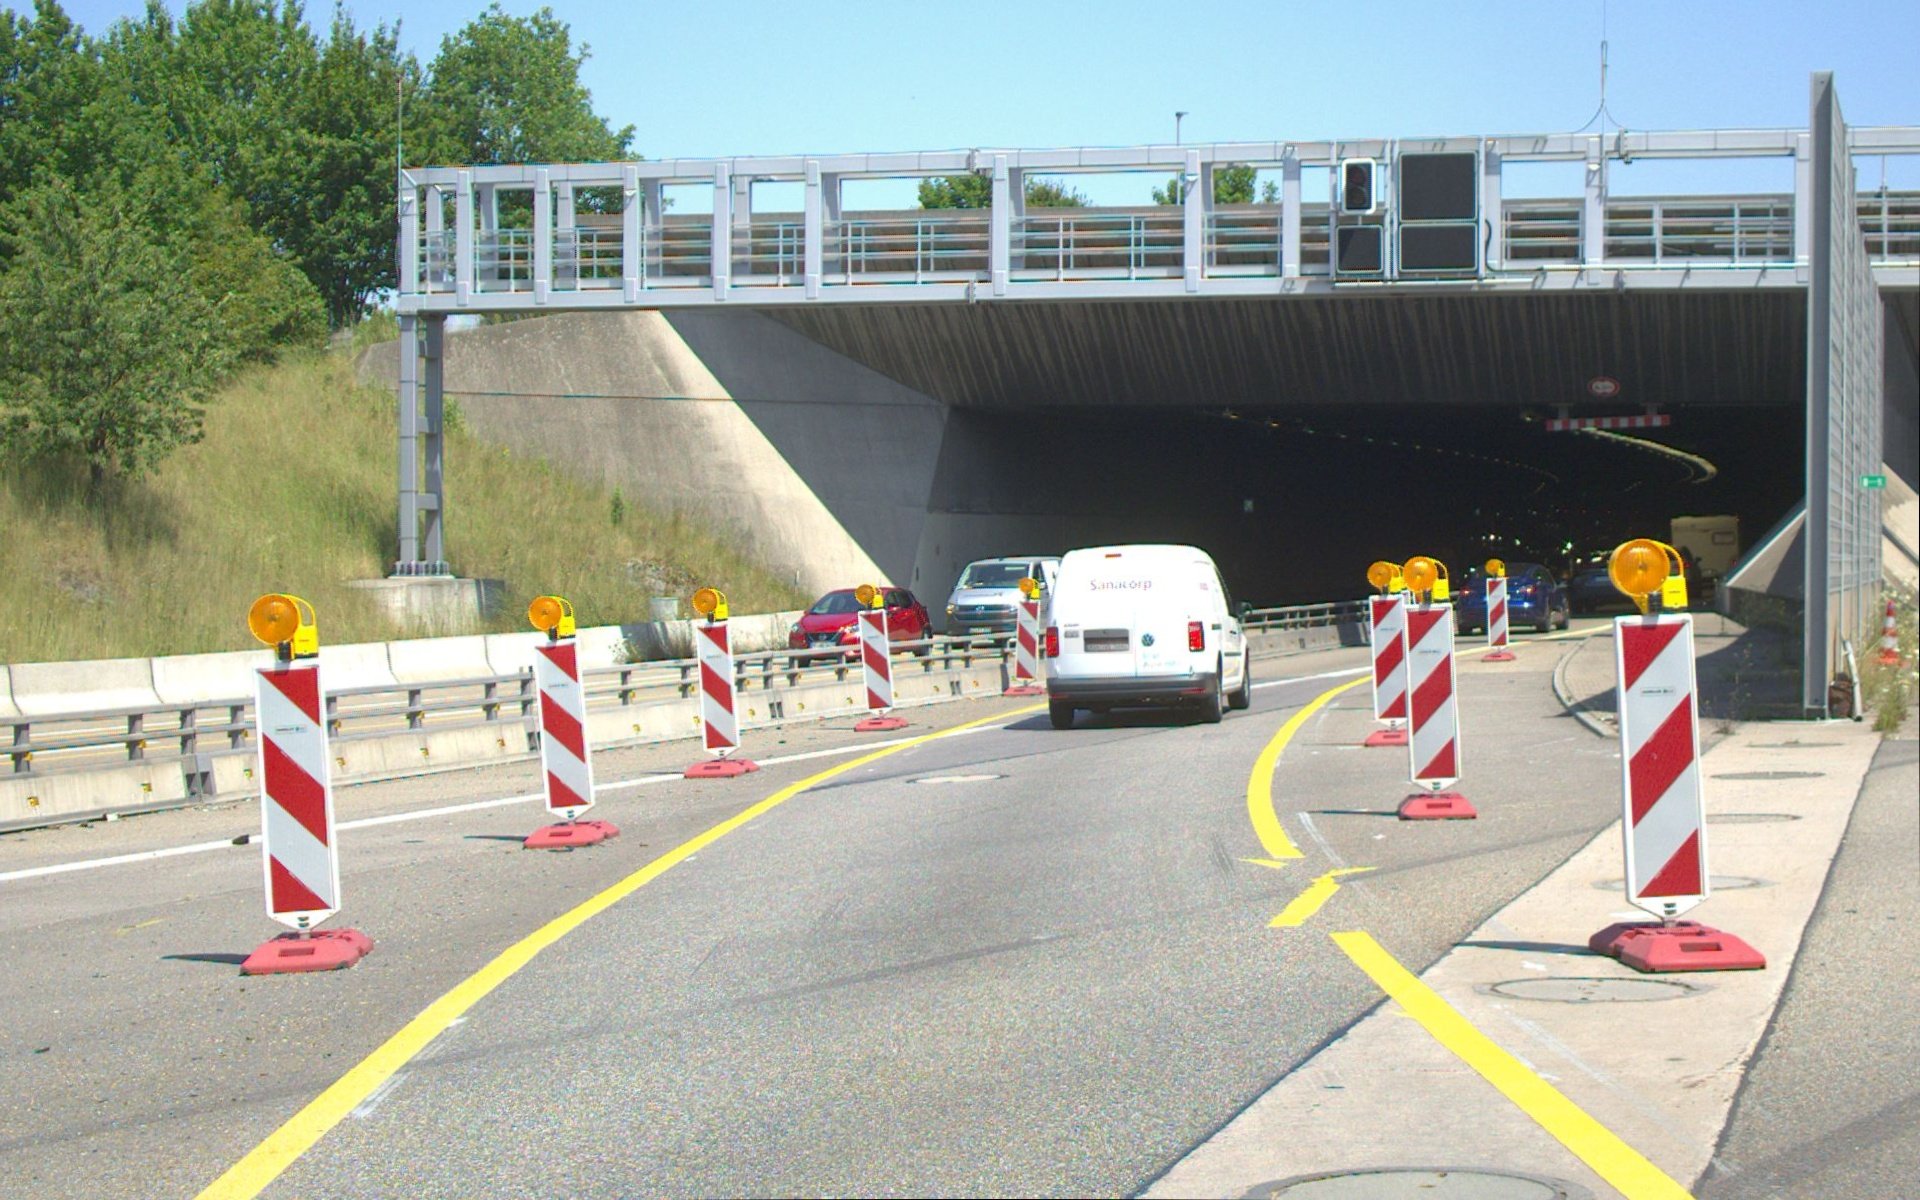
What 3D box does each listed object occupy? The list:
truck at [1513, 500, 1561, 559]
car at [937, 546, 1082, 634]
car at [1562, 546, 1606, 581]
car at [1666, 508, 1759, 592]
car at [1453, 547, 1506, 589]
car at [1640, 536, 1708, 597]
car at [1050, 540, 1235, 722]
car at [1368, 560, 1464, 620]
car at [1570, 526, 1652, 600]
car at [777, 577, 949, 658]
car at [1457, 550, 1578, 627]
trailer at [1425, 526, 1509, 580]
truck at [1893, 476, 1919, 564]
[{"bbox_3d":[40.110,-4.915,239.002,2.812,3.902,6.452,-2,1,13],"label":"truck"},{"bbox_3d":[1.145,-0.236,76.670,1.689,1.828,4.783,-3,0,20],"label":"car"},{"bbox_3d":[30.297,-1.766,166.917,1.774,1.572,4.444,-3,1,14],"label":"car"},{"bbox_3d":[26.505,-1.706,120.932,2.816,2.764,7.096,1,0,15],"label":"car"},{"bbox_3d":[22.550,-1.408,149.056,1.774,1.661,4.804,-3,1,14],"label":"car"},{"bbox_3d":[21.041,-0.980,101.184,1.809,1.745,4.407,0,1,14],"label":"car"},{"bbox_3d":[1.886,0.294,35.917,1.808,1.788,3.731,-1,1,2],"label":"car"},{"bbox_3d":[13.138,-0.296,98.846,1.744,1.588,4.223,-2,0,21],"label":"car"},{"bbox_3d":[16.475,-0.935,86.869,1.809,1.809,4.407,0,1,14],"label":"car"},{"bbox_3d":[-1.794,0.318,64.798,1.689,1.390,3.995,-3,0,23],"label":"car"},{"bbox_3d":[11.515,-0.258,70.806,1.810,1.532,4.406,0,1,18],"label":"car"},{"bbox_3d":[18.743,-1.752,126.830,1.948,1.799,5.517,-3,1,20],"label":"trailer"},{"bbox_3d":[52.040,-4.192,182.045,3.403,4.320,16.529,2,0,10],"label":"truck"}]
